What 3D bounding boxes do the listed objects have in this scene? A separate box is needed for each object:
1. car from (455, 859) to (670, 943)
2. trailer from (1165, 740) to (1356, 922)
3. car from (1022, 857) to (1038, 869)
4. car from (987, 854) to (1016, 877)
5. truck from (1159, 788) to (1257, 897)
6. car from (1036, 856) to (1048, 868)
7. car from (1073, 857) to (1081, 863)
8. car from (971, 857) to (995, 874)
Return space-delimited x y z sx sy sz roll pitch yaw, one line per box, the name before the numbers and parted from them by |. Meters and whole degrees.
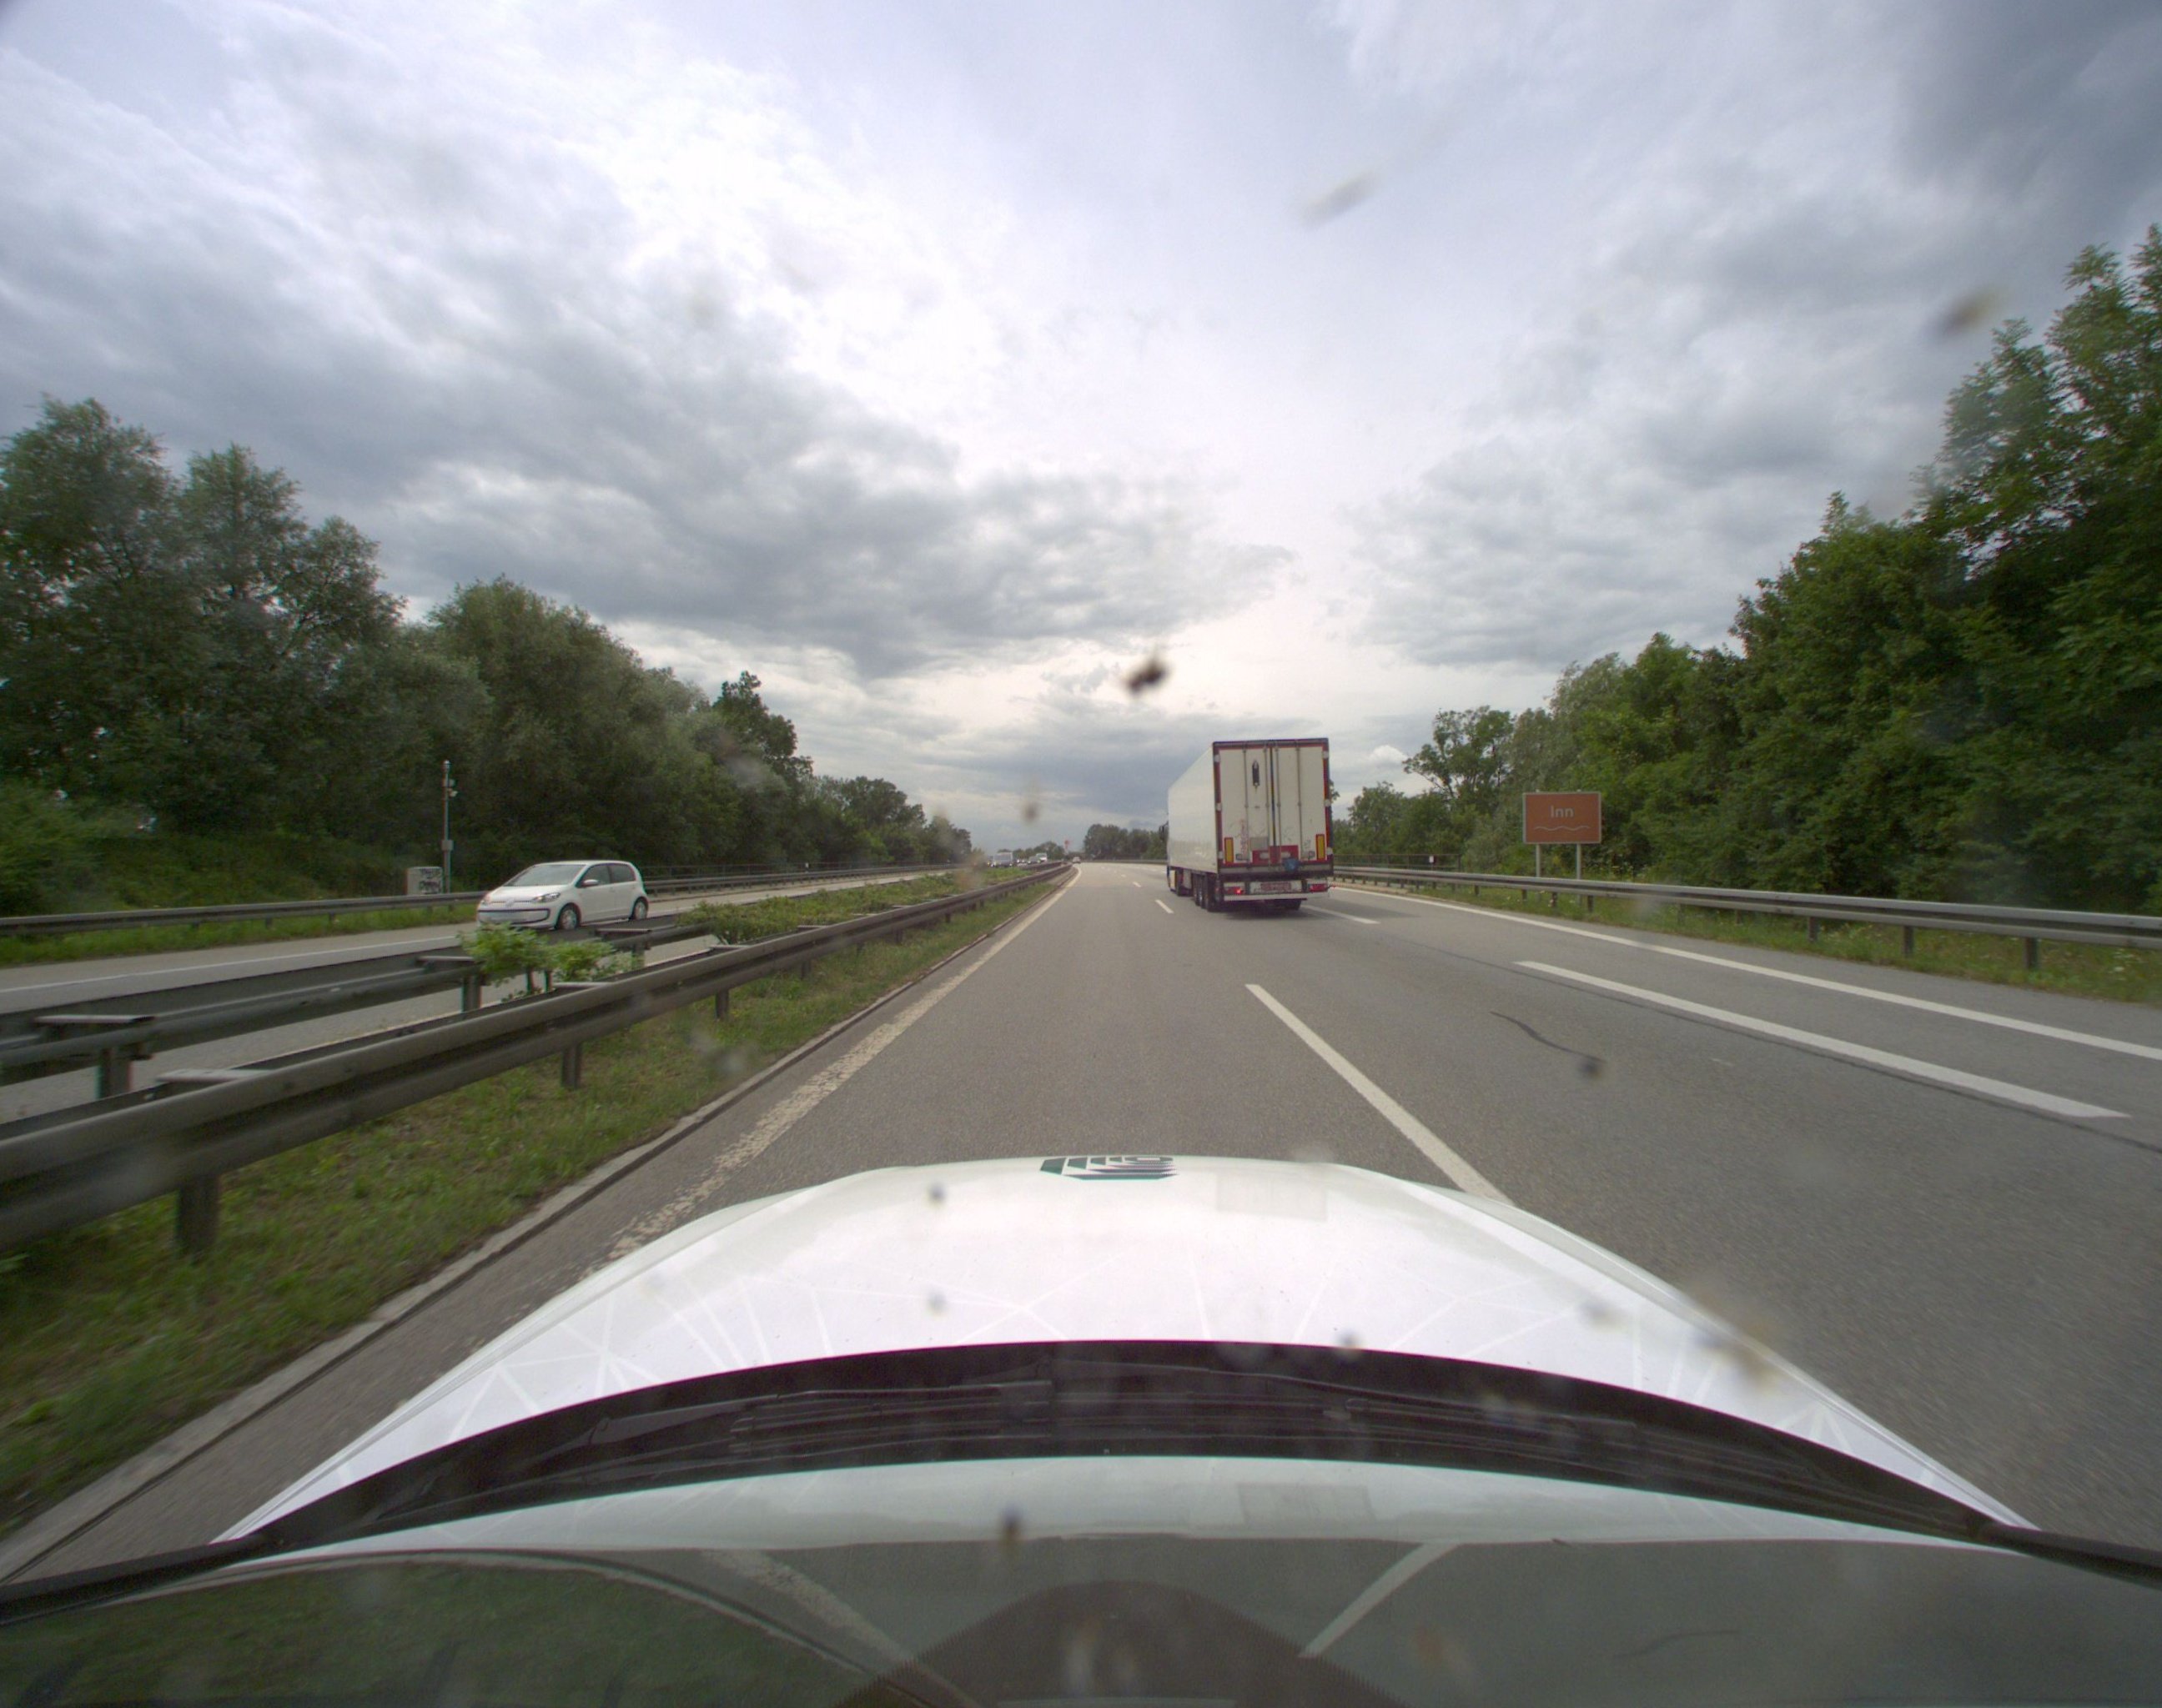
car | -10.654 0.889 17.180 1.644 1.492 4.284 -2 0 2
trailer | 4.632 -0.465 24.638 3.050 3.890 13.795 -2 0 2
car | -6.921 1.213 111.394 1.839 1.612 4.947 0 0 1
car | -6.174 0.881 63.567 1.719 1.650 4.225 0 0 2
truck | 4.900 -0.402 32.615 3.051 3.892 6.002 -2 0 2
car | -6.525 1.334 136.226 1.766 1.911 4.712 1 0 -1
car | -1.017 1.601 211.574 1.899 1.640 4.388 -1 -1 -4
car | -9.678 1.118 80.742 1.722 1.560 4.333 -1 0 2
